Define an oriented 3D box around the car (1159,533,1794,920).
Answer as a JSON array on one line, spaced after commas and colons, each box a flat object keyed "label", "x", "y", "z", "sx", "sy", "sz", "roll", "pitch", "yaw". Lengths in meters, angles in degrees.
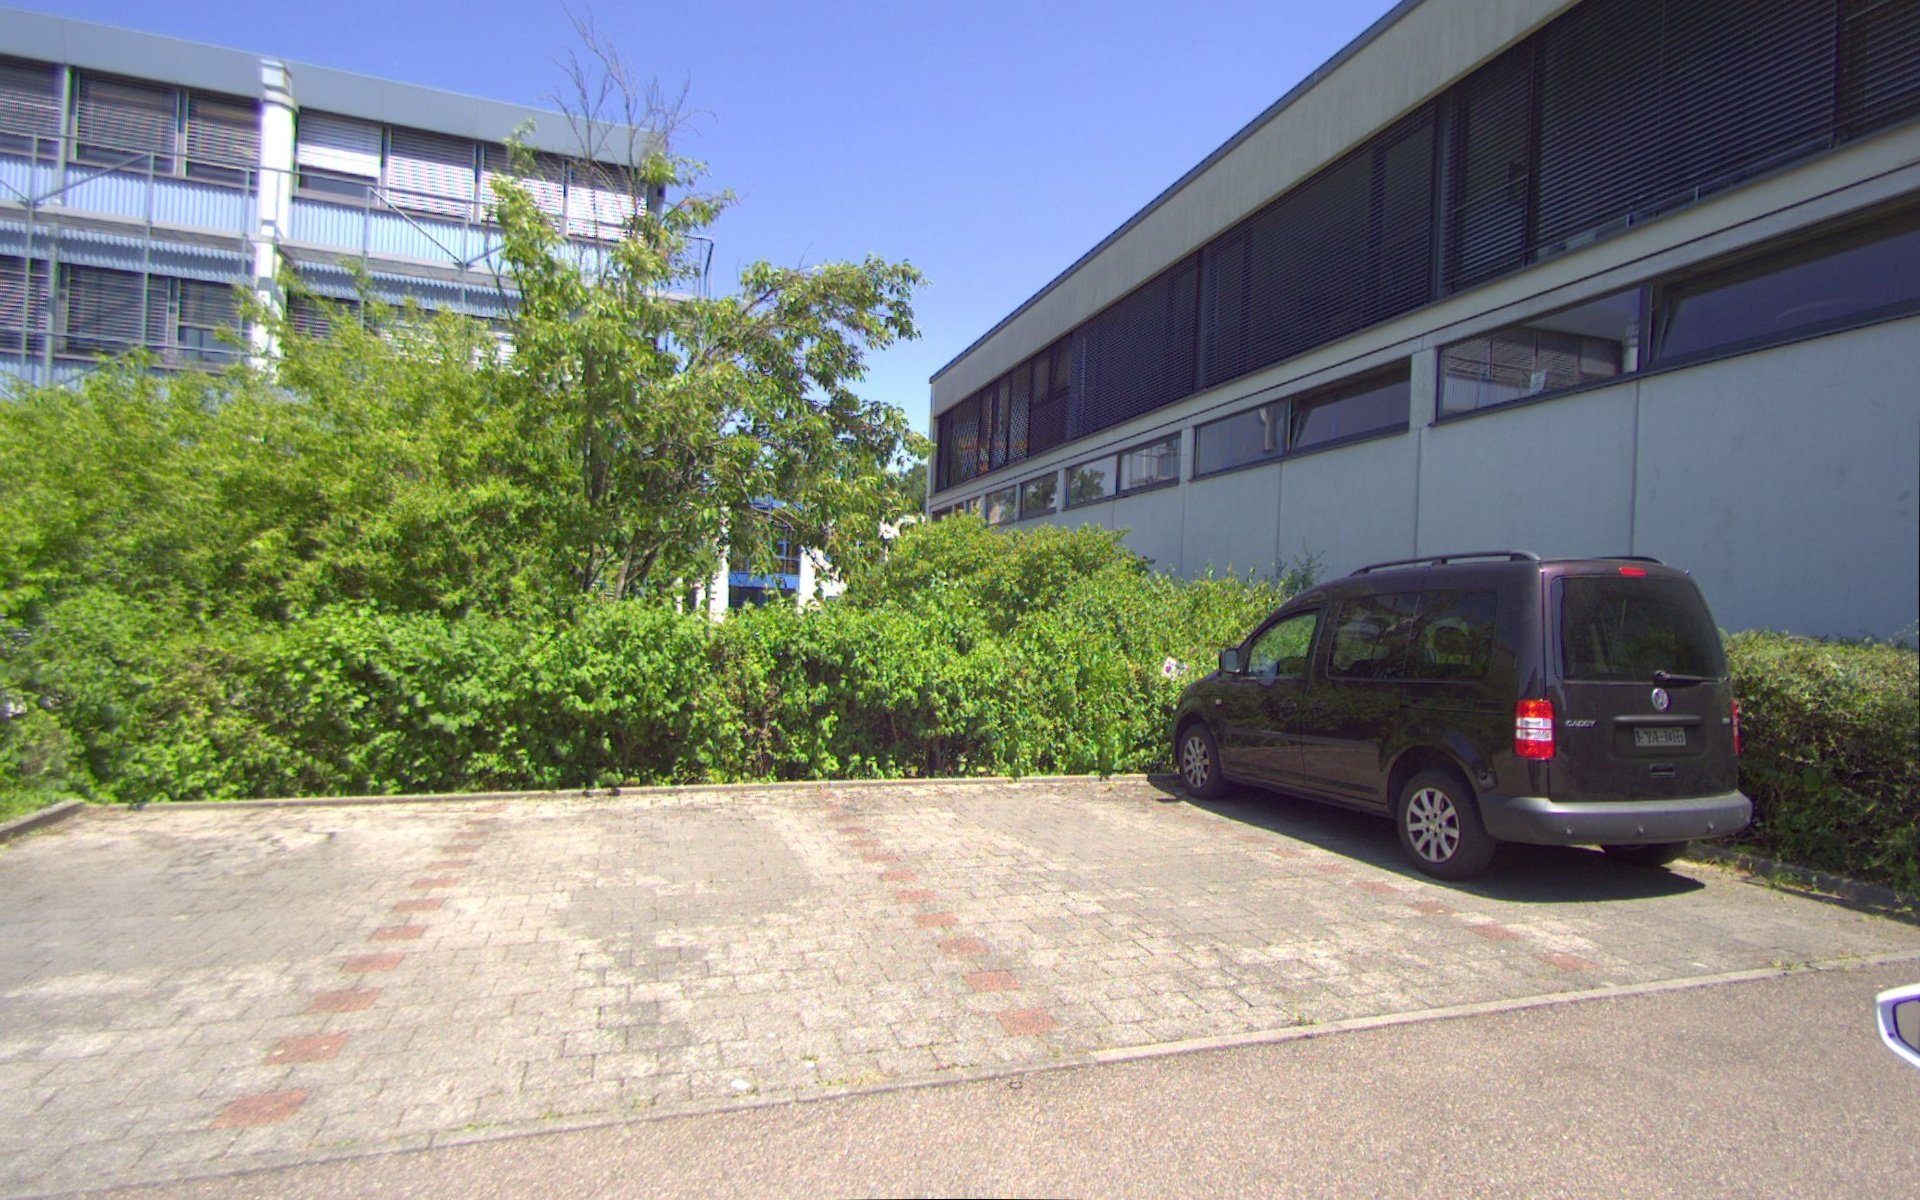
[{"label": "car", "x": 3.144, "y": 0.652, "z": 7.150, "sx": 1.652, "sy": 1.909, "sz": 4.057, "roll": 2, "pitch": -1, "yaw": -17}]
